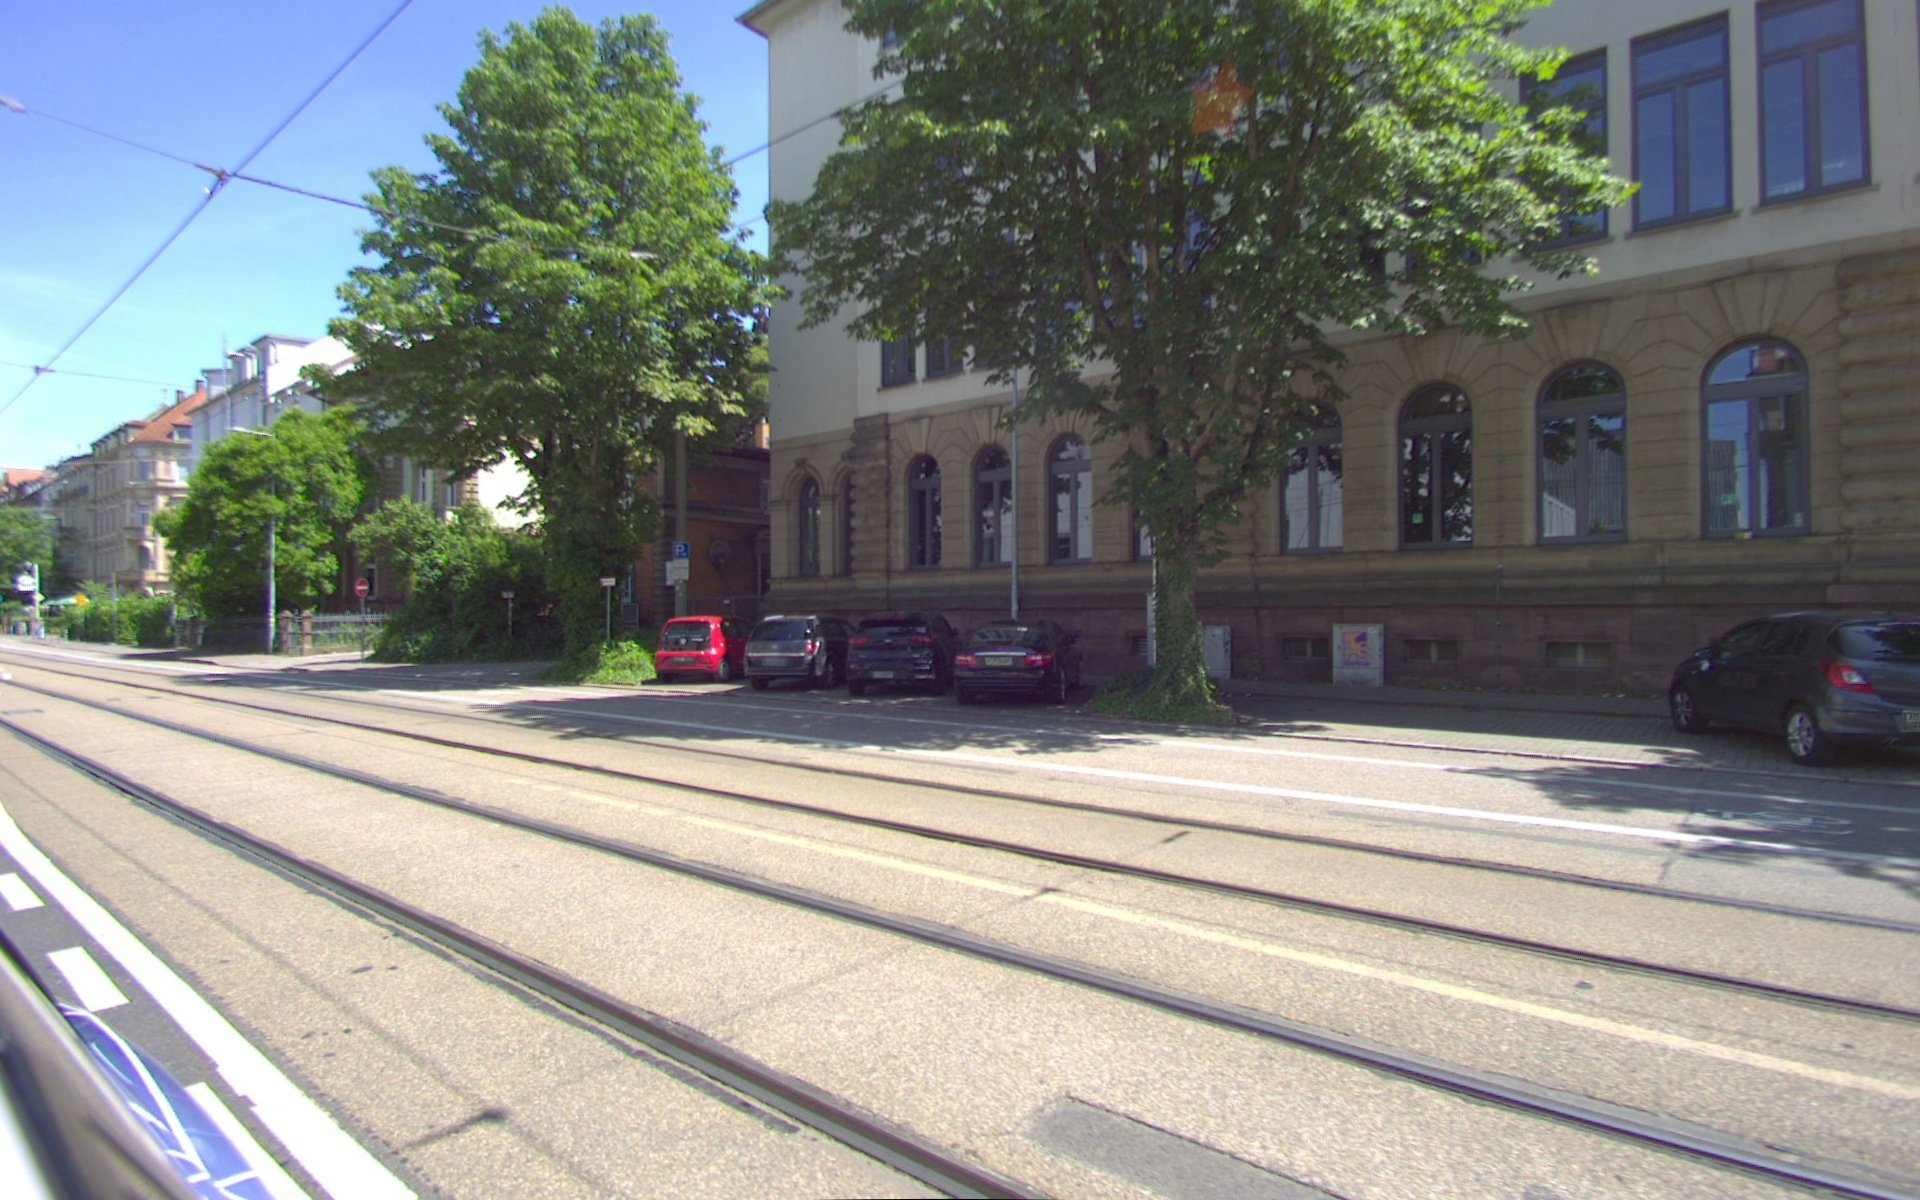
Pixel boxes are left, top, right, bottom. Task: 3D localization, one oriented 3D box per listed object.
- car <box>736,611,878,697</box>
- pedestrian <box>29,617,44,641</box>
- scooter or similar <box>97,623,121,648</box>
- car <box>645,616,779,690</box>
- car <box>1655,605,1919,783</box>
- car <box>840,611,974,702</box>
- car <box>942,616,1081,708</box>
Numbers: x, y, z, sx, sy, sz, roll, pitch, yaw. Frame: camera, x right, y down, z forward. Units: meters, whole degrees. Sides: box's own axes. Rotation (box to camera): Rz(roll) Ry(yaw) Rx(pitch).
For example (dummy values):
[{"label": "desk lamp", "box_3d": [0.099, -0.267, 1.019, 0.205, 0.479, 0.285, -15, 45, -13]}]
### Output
[{"label": "car", "box_3d": [-3.132, 1.066, 21.600, 1.651, 1.596, 4.307, -1, 0, 11]}, {"label": "pedestrian", "box_3d": [-65.864, 2.078, 72.175, 0.939, 1.654, 0.732, -1, -2, 43]}, {"label": "scooter or similar", "box_3d": [-50.439, 2.075, 59.995, 0.597, 1.462, 0.998, 0, -1, 40]}, {"label": "car", "box_3d": [-5.659, 1.170, 23.451, 1.653, 1.527, 3.337, -1, 0, 14]}, {"label": "car", "box_3d": [9.111, 0.841, 10.645, 1.652, 1.531, 3.663, -1, 0, 12]}, {"label": "car", "box_3d": [-0.922, 1.039, 19.765, 1.774, 1.589, 3.805, -1, -2, 11]}, {"label": "car", "box_3d": [0.999, 1.000, 17.407, 1.653, 1.385, 3.915, -1, -2, 14]}]
